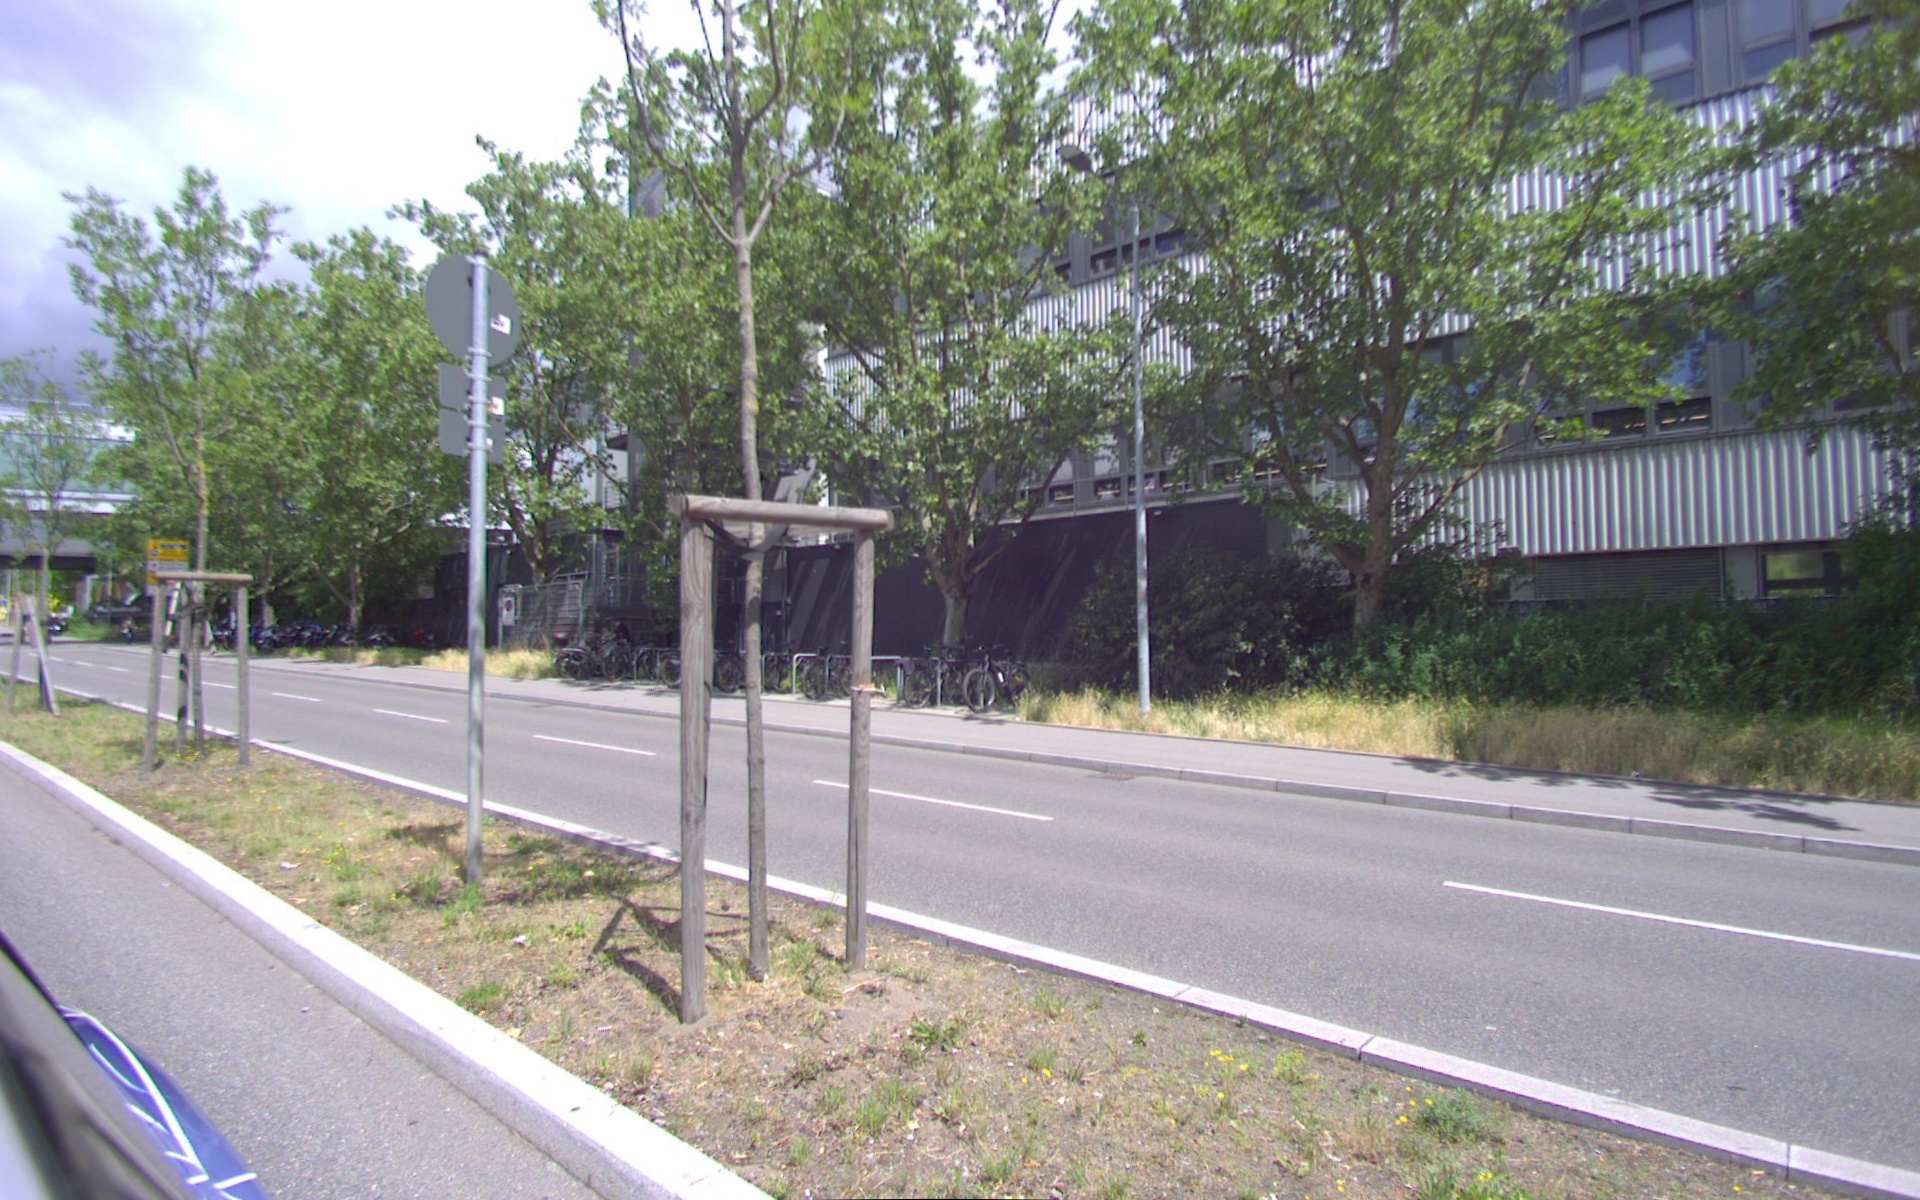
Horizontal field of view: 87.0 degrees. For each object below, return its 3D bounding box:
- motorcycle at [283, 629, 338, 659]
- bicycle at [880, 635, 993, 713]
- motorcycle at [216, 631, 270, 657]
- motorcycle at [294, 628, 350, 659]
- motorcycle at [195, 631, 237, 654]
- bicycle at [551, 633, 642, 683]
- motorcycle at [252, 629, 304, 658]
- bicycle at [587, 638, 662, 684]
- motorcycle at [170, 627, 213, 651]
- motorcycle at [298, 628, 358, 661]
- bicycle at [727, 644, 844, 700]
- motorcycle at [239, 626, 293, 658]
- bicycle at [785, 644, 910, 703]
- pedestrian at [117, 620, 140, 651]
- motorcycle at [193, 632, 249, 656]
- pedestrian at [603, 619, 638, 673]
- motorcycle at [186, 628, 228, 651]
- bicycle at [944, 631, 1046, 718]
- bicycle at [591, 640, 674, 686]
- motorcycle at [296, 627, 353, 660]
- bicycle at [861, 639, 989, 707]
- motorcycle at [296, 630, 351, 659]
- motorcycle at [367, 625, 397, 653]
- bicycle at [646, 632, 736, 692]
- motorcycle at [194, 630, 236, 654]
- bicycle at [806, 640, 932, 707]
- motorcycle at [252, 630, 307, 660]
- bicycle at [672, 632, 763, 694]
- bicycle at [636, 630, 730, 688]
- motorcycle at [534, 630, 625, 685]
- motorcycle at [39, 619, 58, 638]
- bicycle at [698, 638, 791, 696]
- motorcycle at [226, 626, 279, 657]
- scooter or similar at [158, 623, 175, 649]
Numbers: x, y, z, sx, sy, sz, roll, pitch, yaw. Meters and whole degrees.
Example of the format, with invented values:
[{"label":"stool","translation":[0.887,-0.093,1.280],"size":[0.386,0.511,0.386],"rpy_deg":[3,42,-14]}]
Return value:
[{"label":"motorcycle","translation":[-27.948,1.868,43.589],"size":[0.698,1.188,1.857],"rpy_deg":[-3,-1,43]},{"label":"bicycle","translation":[-0.381,1.293,18.230],"size":[0.555,1.267,2.379],"rpy_deg":[-2,-2,42]},{"label":"motorcycle","translation":[-34.238,2.077,48.355],"size":[1.904,1.124,0.924],"rpy_deg":[-2,-1,-23]},{"label":"motorcycle","translation":[-26.973,1.824,42.807],"size":[0.655,1.219,1.857],"rpy_deg":[-3,-1,43]},{"label":"motorcycle","translation":[-37.287,2.131,50.719],"size":[0.776,1.041,1.574],"rpy_deg":[-3,-1,41]},{"label":"bicycle","translation":[-9.302,1.461,25.951],"size":[0.805,1.189,2.113],"rpy_deg":[-1,-1,38]},{"label":"motorcycle","translation":[-30.164,1.904,44.768],"size":[1.853,1.188,0.817],"rpy_deg":[-2,-1,-35]},{"label":"bicycle","translation":[-8.510,1.532,25.737],"size":[0.422,1.083,1.905],"rpy_deg":[-1,-1,38]},{"label":"motorcycle","translation":[-40.942,2.089,53.910],"size":[1.721,1.180,0.777],"rpy_deg":[-2,-1,-42]},{"label":"motorcycle","translation":[-24.515,1.715,39.276],"size":[1.855,1.182,0.746],"rpy_deg":[-2,-1,-41]},{"label":"bicycle","translation":[-3.675,1.499,21.652],"size":[0.848,1.014,2.814],"rpy_deg":[-1,-1,31]},{"label":"motorcycle","translation":[-31.371,1.893,45.793],"size":[1.905,1.354,0.867],"rpy_deg":[-2,-1,-29]},{"label":"bicycle","translation":[-2.231,1.441,20.353],"size":[2.532,1.104,0.697],"rpy_deg":[2,-3,-40]},{"label":"pedestrian","translation":[-45.074,1.907,54.857],"size":[0.812,1.624,0.760],"rpy_deg":[-1,1,39]},{"label":"motorcycle","translation":[-35.834,2.136,49.088],"size":[0.917,1.124,1.919],"rpy_deg":[0,-3,28]},{"label":"pedestrian","translation":[-10.099,1.356,30.096],"size":[0.744,1.563,0.822],"rpy_deg":[0,-1,-40]},{"label":"motorcycle","translation":[-39.188,2.053,52.667],"size":[0.773,1.131,1.579],"rpy_deg":[-3,-1,31]},{"label":"bicycle","translation":[0.625,1.227,17.346],"size":[0.489,1.374,2.144],"rpy_deg":[-2,-2,42]},{"label":"bicycle","translation":[-8.187,1.557,25.391],"size":[0.497,1.070,2.060],"rpy_deg":[-1,-1,38]},{"label":"motorcycle","translation":[-25.727,1.751,40.981],"size":[1.855,1.195,0.730],"rpy_deg":[-2,0,-42]},{"label":"bicycle","translation":[-0.628,1.355,19.301],"size":[2.533,1.166,0.727],"rpy_deg":[0,-1,-40]},{"label":"motorcycle","translation":[-26.380,1.837,41.944],"size":[1.853,1.093,0.796],"rpy_deg":[-2,-1,-35]},{"label":"motorcycle","translation":[-26.470,1.802,46.348],"size":[1.983,1.219,0.645],"rpy_deg":[-3,-1,45]},{"label":"bicycle","translation":[-6.153,1.394,23.195],"size":[0.805,1.292,1.899],"rpy_deg":[-1,-1,38]},{"label":"motorcycle","translation":[-38.153,2.160,51.822],"size":[0.776,1.131,1.574],"rpy_deg":[-3,-1,41]},{"label":"bicycle","translation":[-1.739,1.387,19.704],"size":[2.533,1.166,0.645],"rpy_deg":[0,-1,-40]},{"label":"motorcycle","translation":[-29.478,1.924,43.848],"size":[1.855,1.188,0.816],"rpy_deg":[-2,-1,-41]},{"label":"bicycle","translation":[-5.384,1.377,22.566],"size":[0.805,1.292,1.899],"rpy_deg":[-1,-1,38]},{"label":"bicycle","translation":[-6.641,1.395,24.347],"size":[0.805,1.292,2.113],"rpy_deg":[-1,-1,38]},{"label":"motorcycle","translation":[-9.821,1.455,26.174],"size":[0.805,1.319,2.113],"rpy_deg":[-1,-1,38]},{"label":"motorcycle","translation":[-63.044,1.958,70.006],"size":[2.255,1.207,0.633],"rpy_deg":[0,1,39]},{"label":"bicycle","translation":[-4.642,1.422,21.903],"size":[0.805,1.131,1.899],"rpy_deg":[-1,-1,38]},{"label":"motorcycle","translation":[-33.112,1.934,47.402],"size":[1.905,1.300,0.895],"rpy_deg":[-2,-1,-29]},{"label":"scooter or similar","translation":[-39.202,1.773,49.989],"size":[1.478,1.245,0.350],"rpy_deg":[0,0,40]}]
